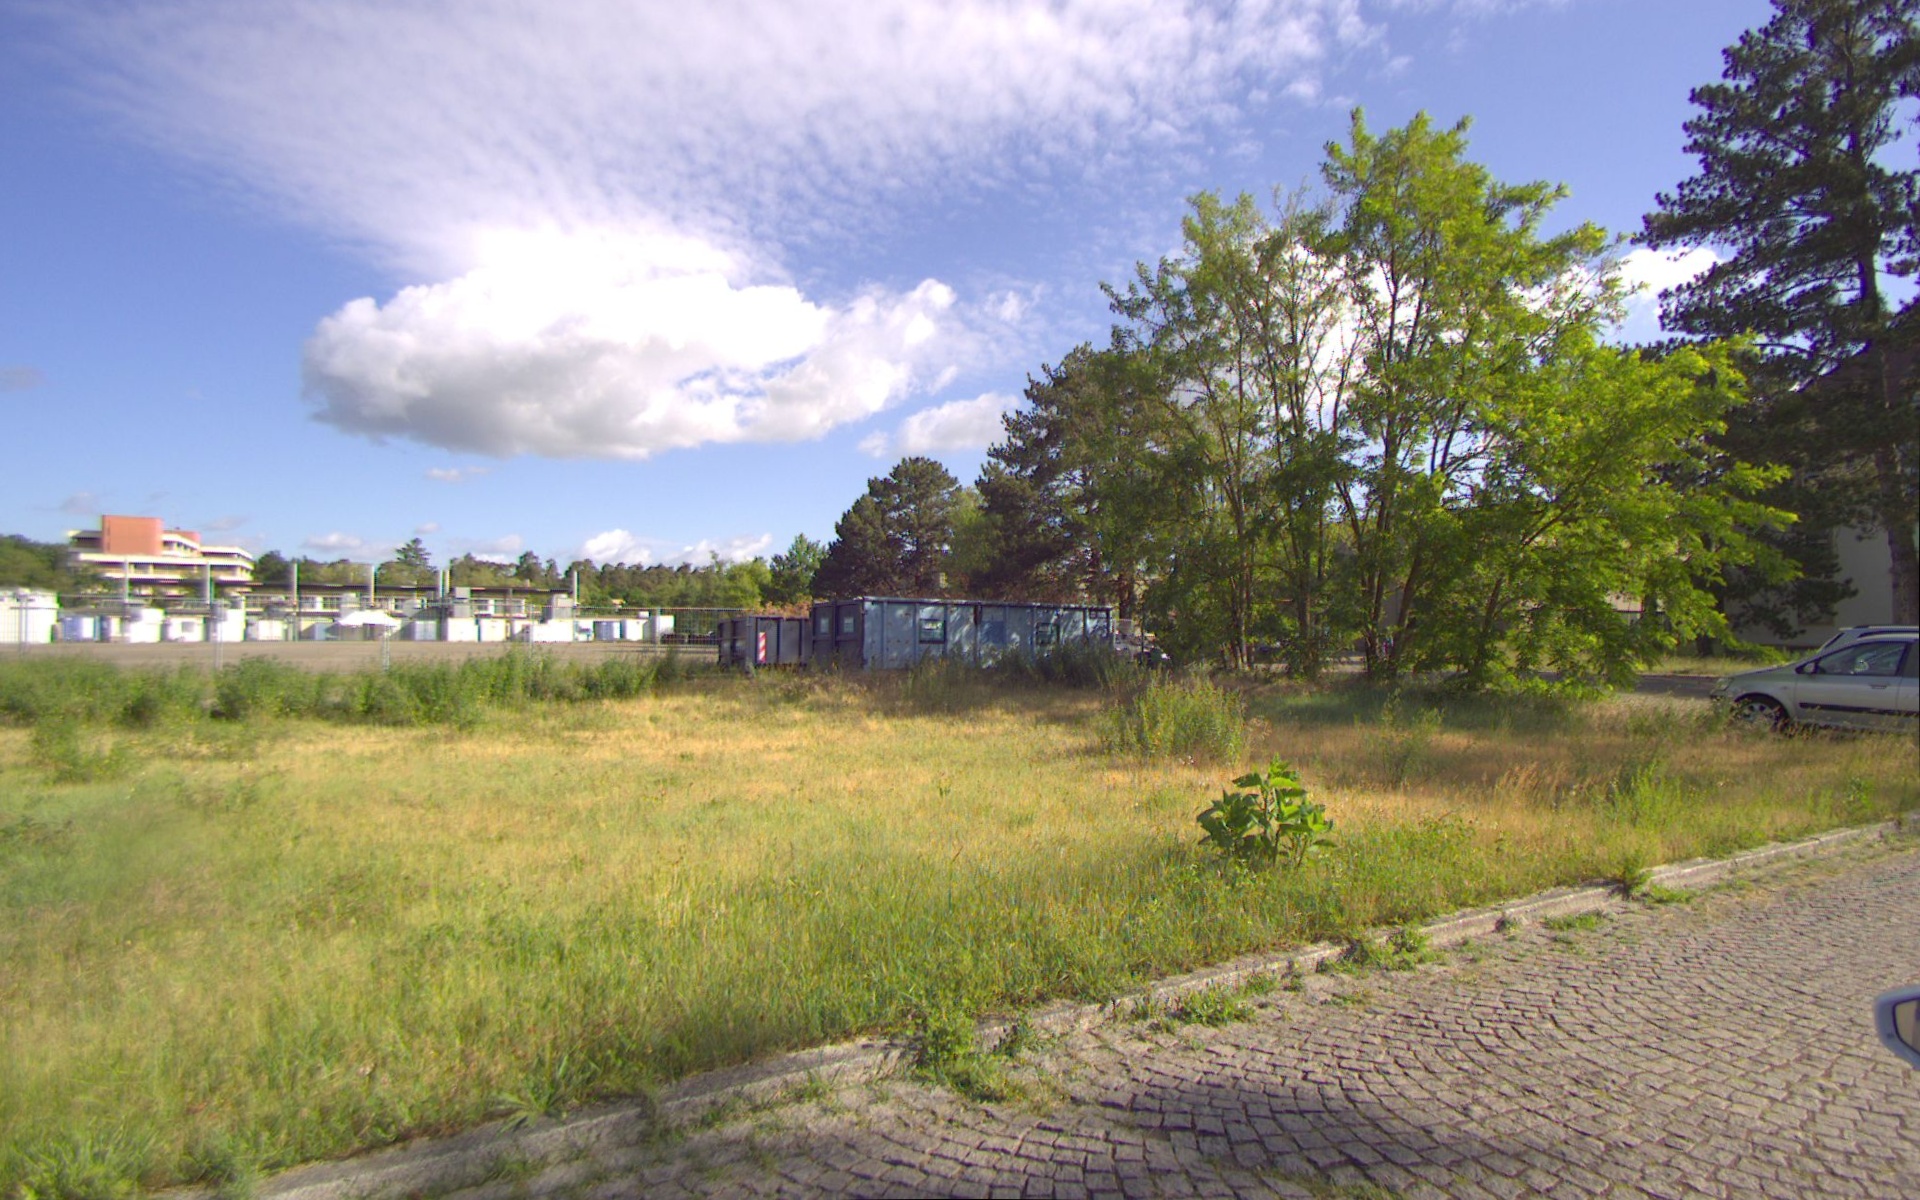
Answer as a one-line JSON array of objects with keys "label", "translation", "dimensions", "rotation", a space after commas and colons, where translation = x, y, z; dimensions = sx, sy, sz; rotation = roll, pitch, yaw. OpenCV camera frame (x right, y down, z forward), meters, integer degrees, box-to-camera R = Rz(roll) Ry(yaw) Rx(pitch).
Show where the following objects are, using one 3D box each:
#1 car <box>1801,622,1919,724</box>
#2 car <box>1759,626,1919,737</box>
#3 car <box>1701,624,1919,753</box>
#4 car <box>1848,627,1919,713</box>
[{"label": "car", "translation": [16.713, 1.241, 16.504], "dimensions": [1.865, 1.614, 4.057], "rotation": [1, 0, -32]}, {"label": "car", "translation": [14.405, 1.199, 14.634], "dimensions": [1.783, 1.500, 3.964], "rotation": [1, 0, -32]}, {"label": "car", "translation": [12.245, 1.130, 13.187], "dimensions": [1.628, 1.507, 3.725], "rotation": [1, 1, -32]}, {"label": "car", "translation": [18.620, 1.306, 17.566], "dimensions": [1.810, 1.488, 4.309], "rotation": [1, 0, -32]}]
